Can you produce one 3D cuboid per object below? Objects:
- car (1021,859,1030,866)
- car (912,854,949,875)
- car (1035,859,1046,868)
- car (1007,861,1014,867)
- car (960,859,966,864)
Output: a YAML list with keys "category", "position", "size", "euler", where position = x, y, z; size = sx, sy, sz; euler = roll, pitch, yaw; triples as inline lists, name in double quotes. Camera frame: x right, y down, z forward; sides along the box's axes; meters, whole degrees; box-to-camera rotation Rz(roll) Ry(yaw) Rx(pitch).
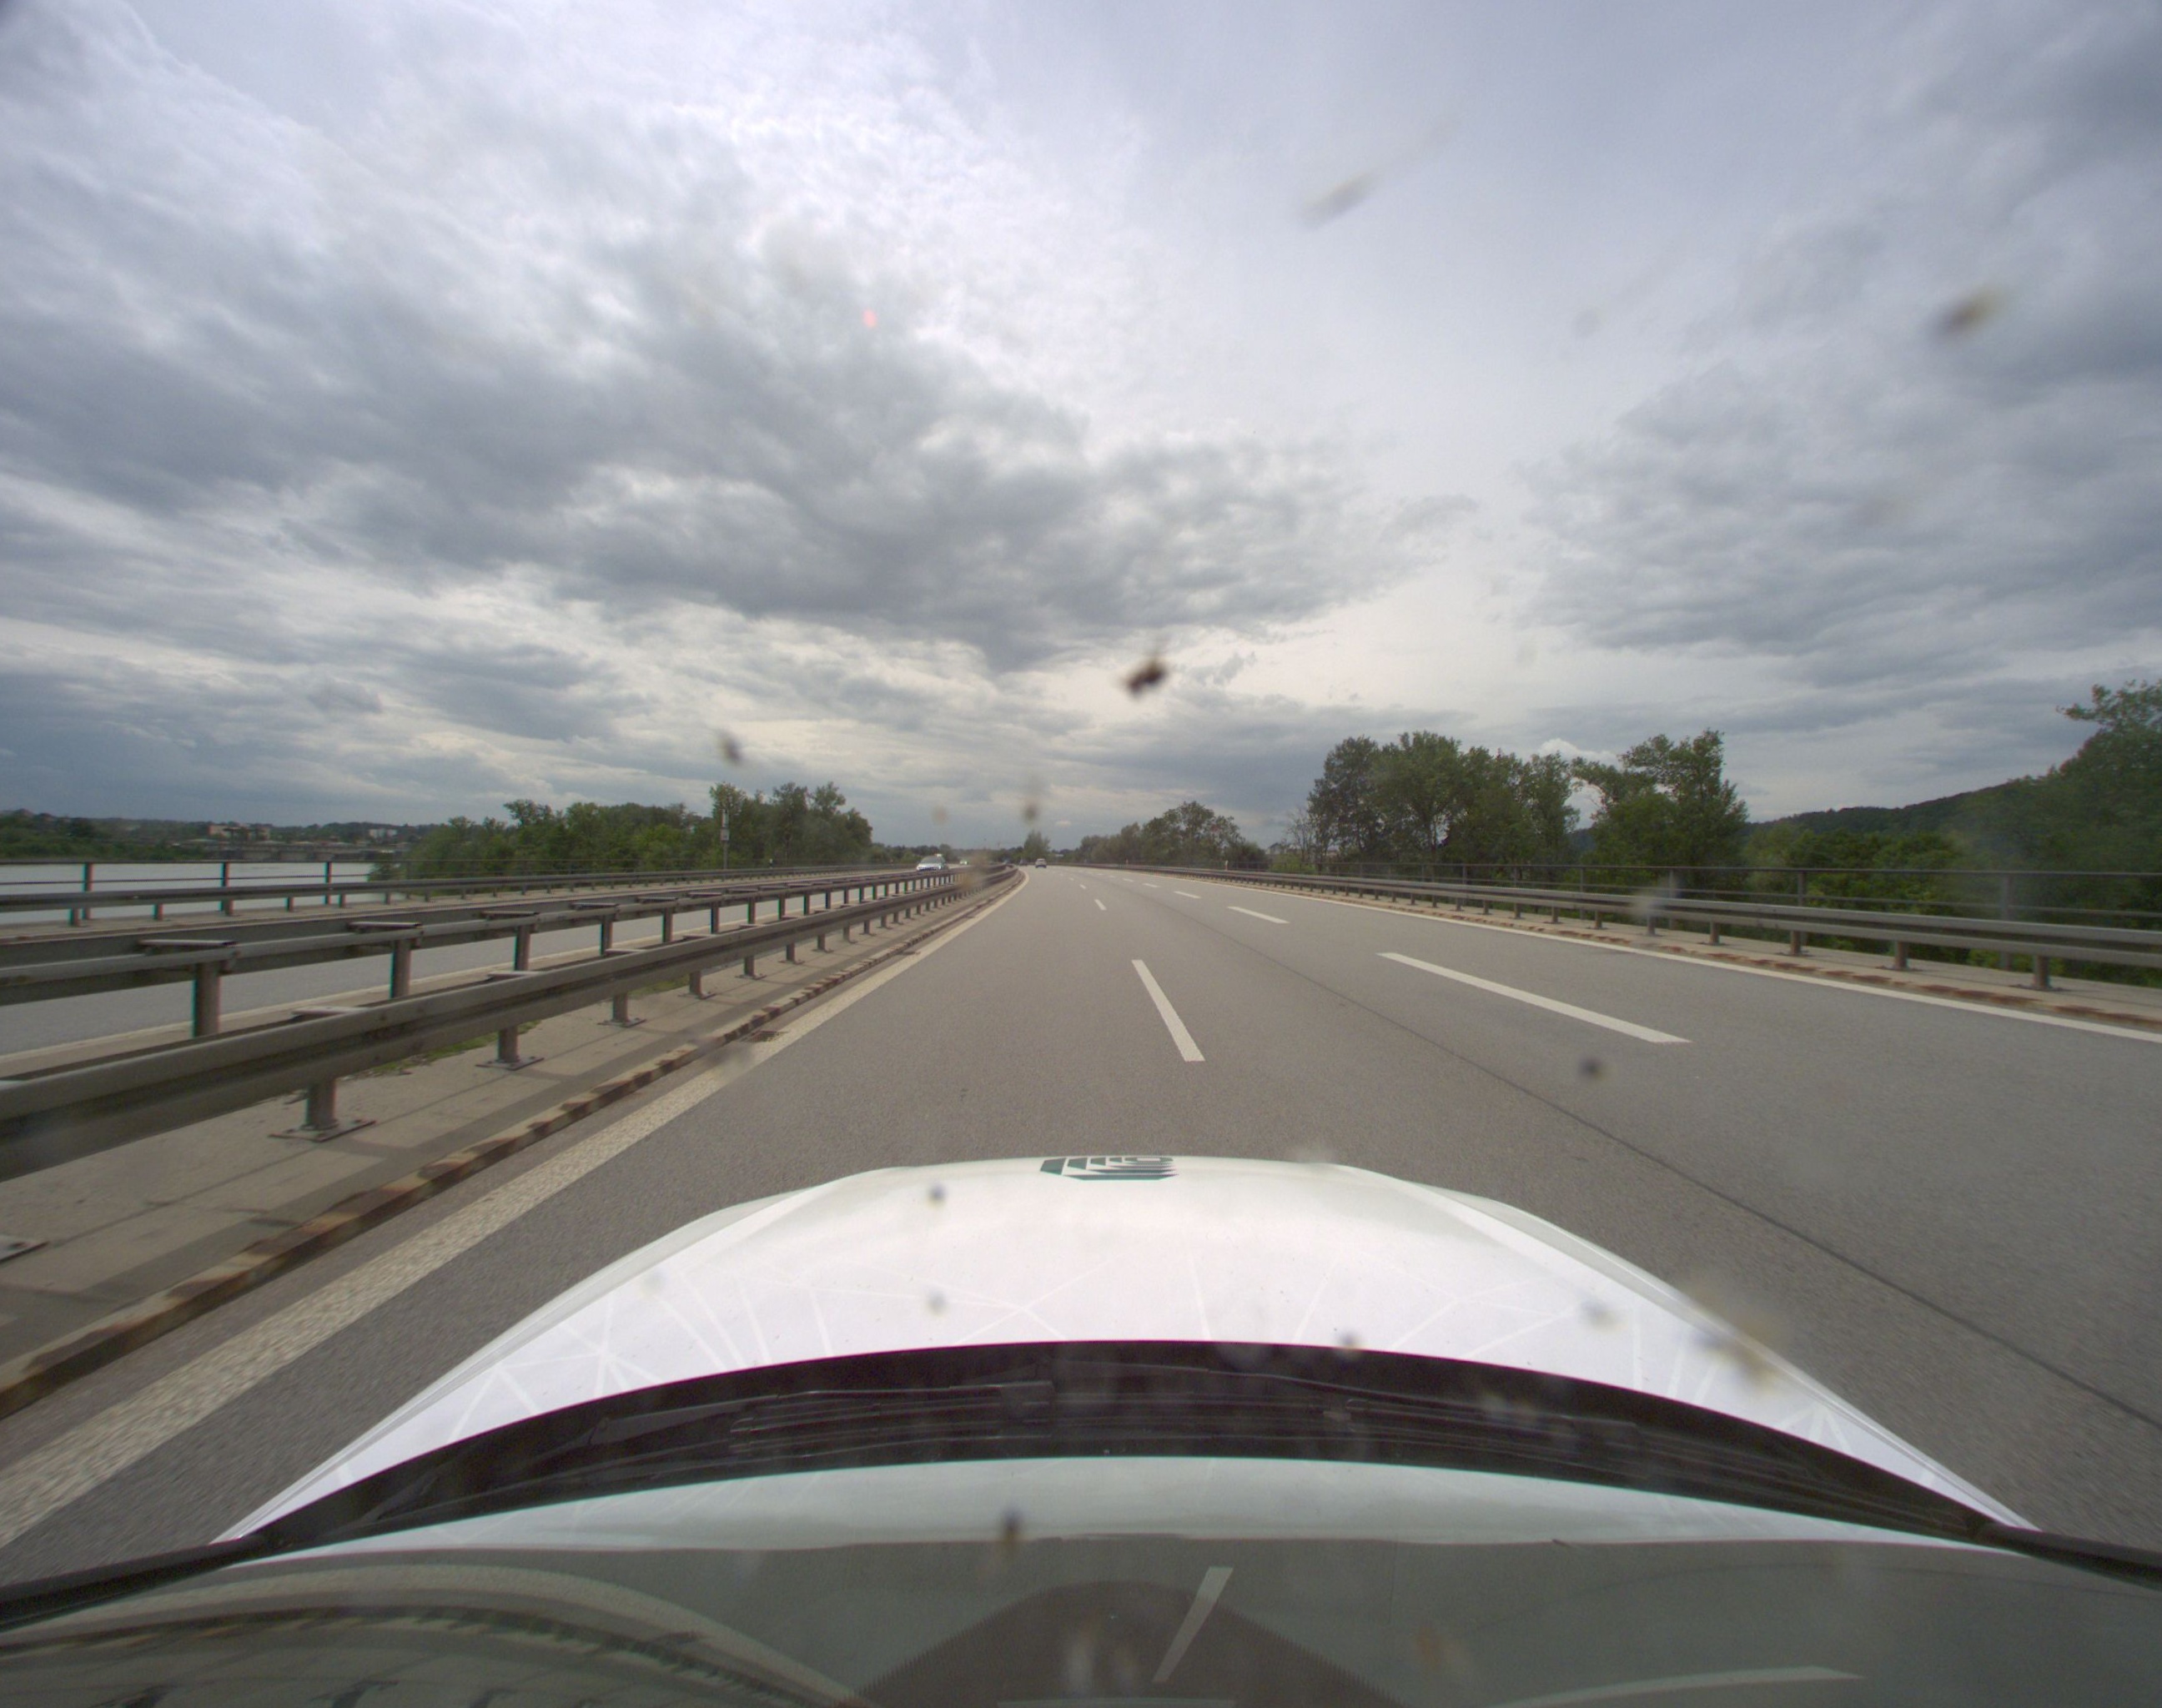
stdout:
- category: "car"
  position: [-13.562, 2.075, 199.505]
  size: [1.891, 1.640, 4.610]
  euler: [0, 0, -7]
- category: "car"
  position: [-10.248, 0.722, 55.658]
  size: [1.767, 1.387, 4.385]
  euler: [0, 0, -2]
- category: "car"
  position: [-7.666, 1.826, 153.623]
  size: [1.900, 1.640, 4.385]
  euler: [0, -1, -7]
- category: "car"
  position: [-20.837, 2.955, 240.704]
  size: [1.901, 1.640, 4.766]
  euler: [0, -1, -8]
- category: "car"
  position: [-30.299, 1.934, 209.197]
  size: [1.529, 1.407, 4.320]
  euler: [0, 0, -5]
